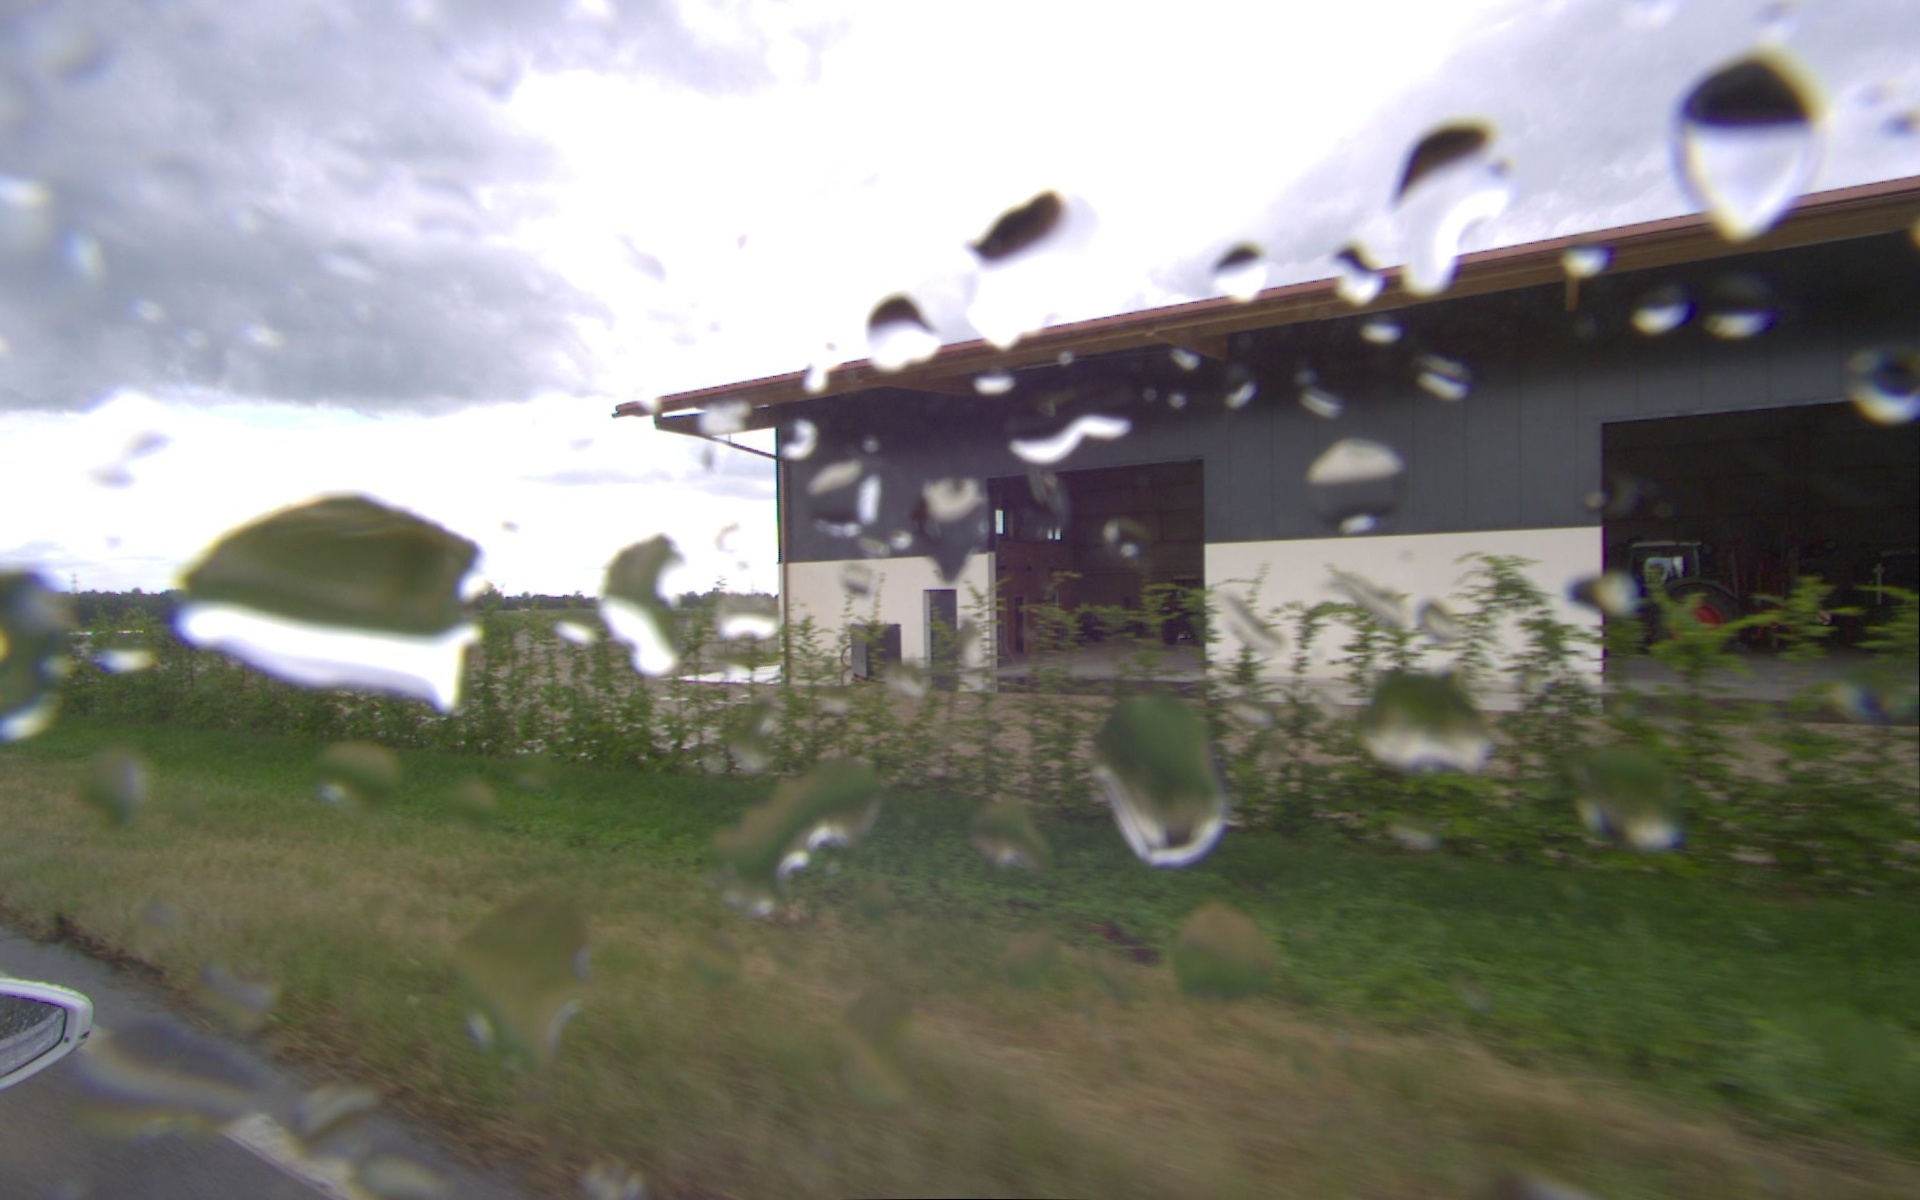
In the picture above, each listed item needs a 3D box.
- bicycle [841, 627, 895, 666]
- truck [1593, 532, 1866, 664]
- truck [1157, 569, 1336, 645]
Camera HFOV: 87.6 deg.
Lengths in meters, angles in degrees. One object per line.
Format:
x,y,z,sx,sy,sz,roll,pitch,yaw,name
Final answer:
-2.621,1.312,28.491,1.637,1.086,0.389,-1,1,32,bicycle
19.334,-0.021,25.593,5.267,3.053,2.485,-1,0,32,truck
10.616,0.300,37.293,6.068,2.642,2.113,-1,0,33,truck
